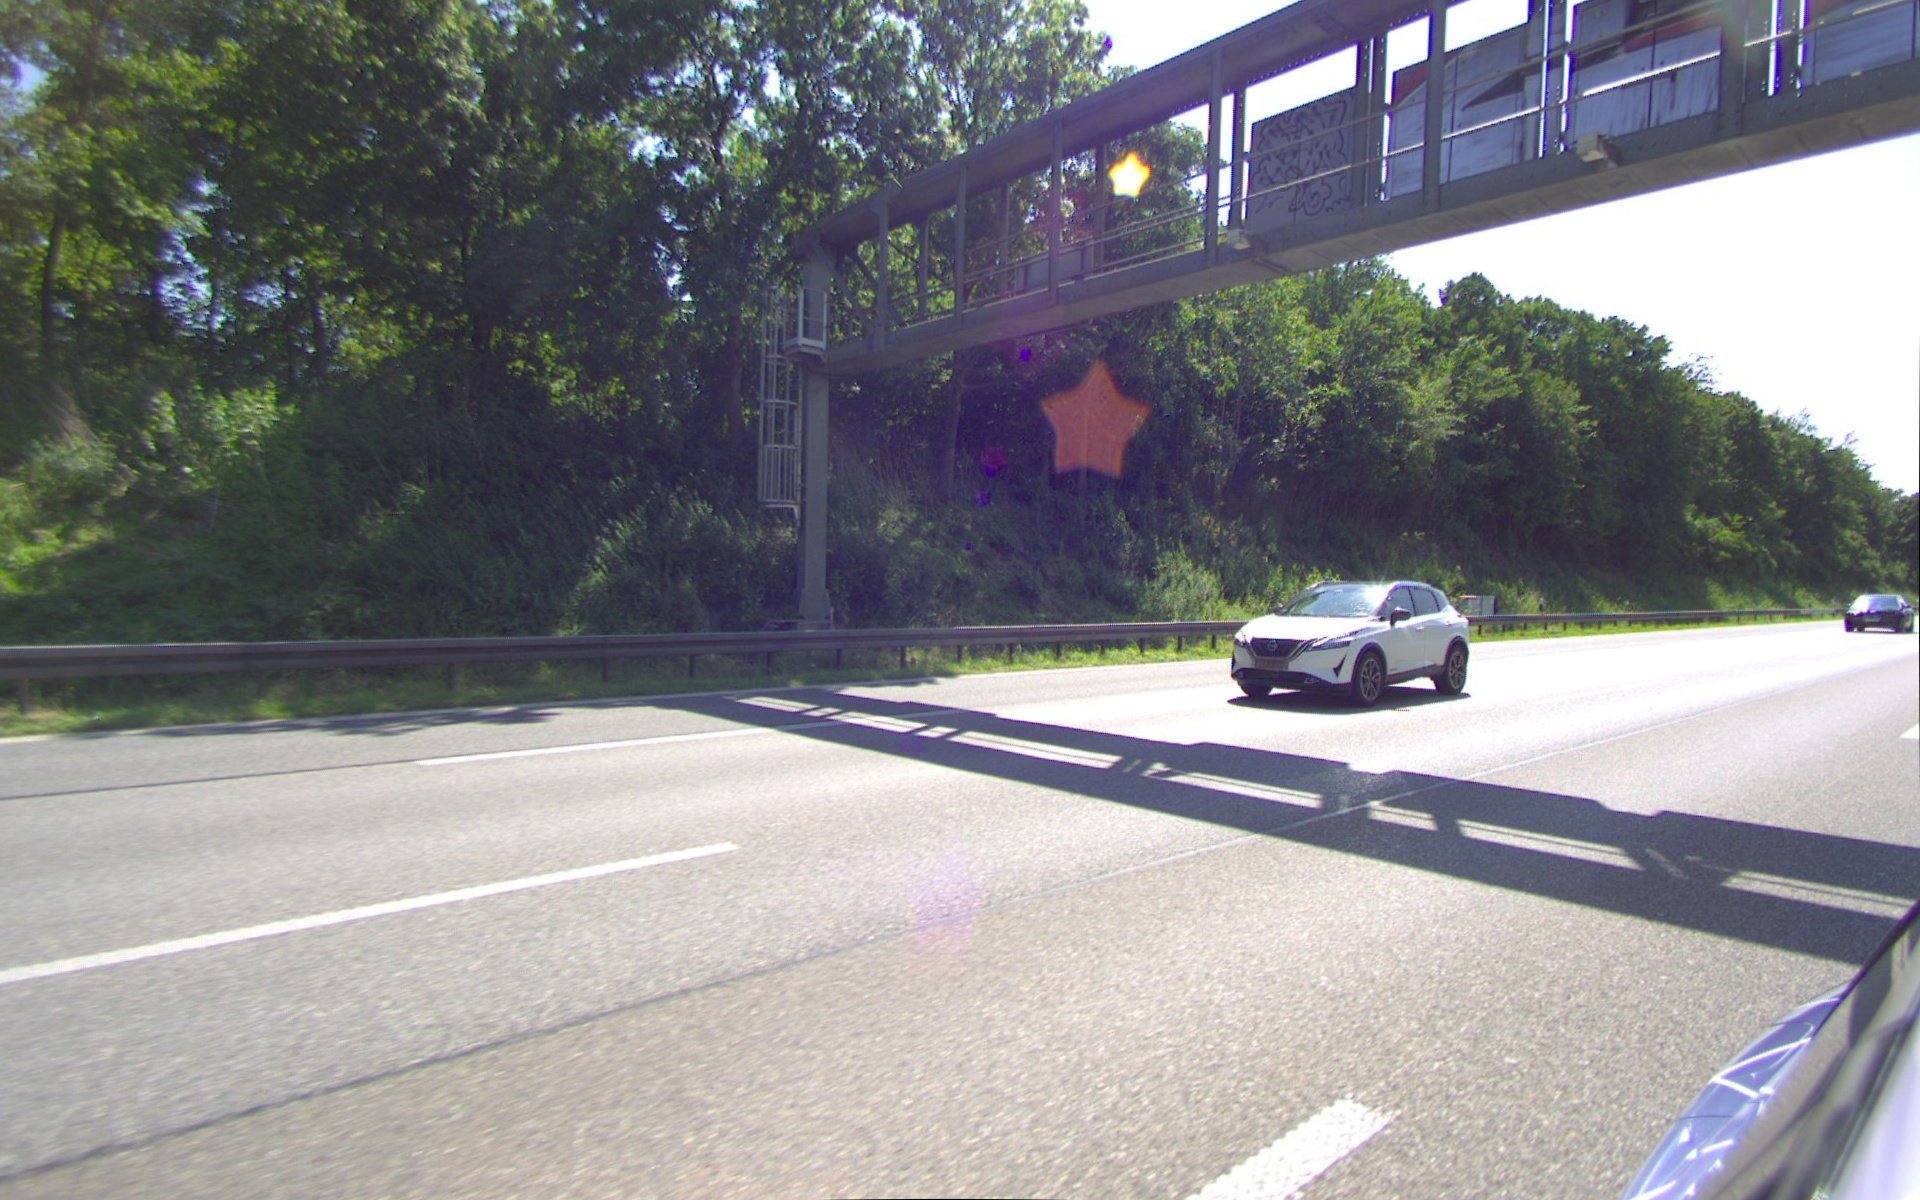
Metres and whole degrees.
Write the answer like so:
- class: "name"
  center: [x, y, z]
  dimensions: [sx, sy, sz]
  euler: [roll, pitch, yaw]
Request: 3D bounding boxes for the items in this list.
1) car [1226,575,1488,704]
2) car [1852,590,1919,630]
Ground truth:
- class: "car"
  center: [5.723, 0.480, 14.389]
  dimensions: [3.964, 1.588, 1.847]
  euler: [0, 0, -41]
- class: "car"
  center: [41.342, 0.411, 44.877]
  dimensions: [4.602, 1.690, 1.924]
  euler: [0, 0, -39]
